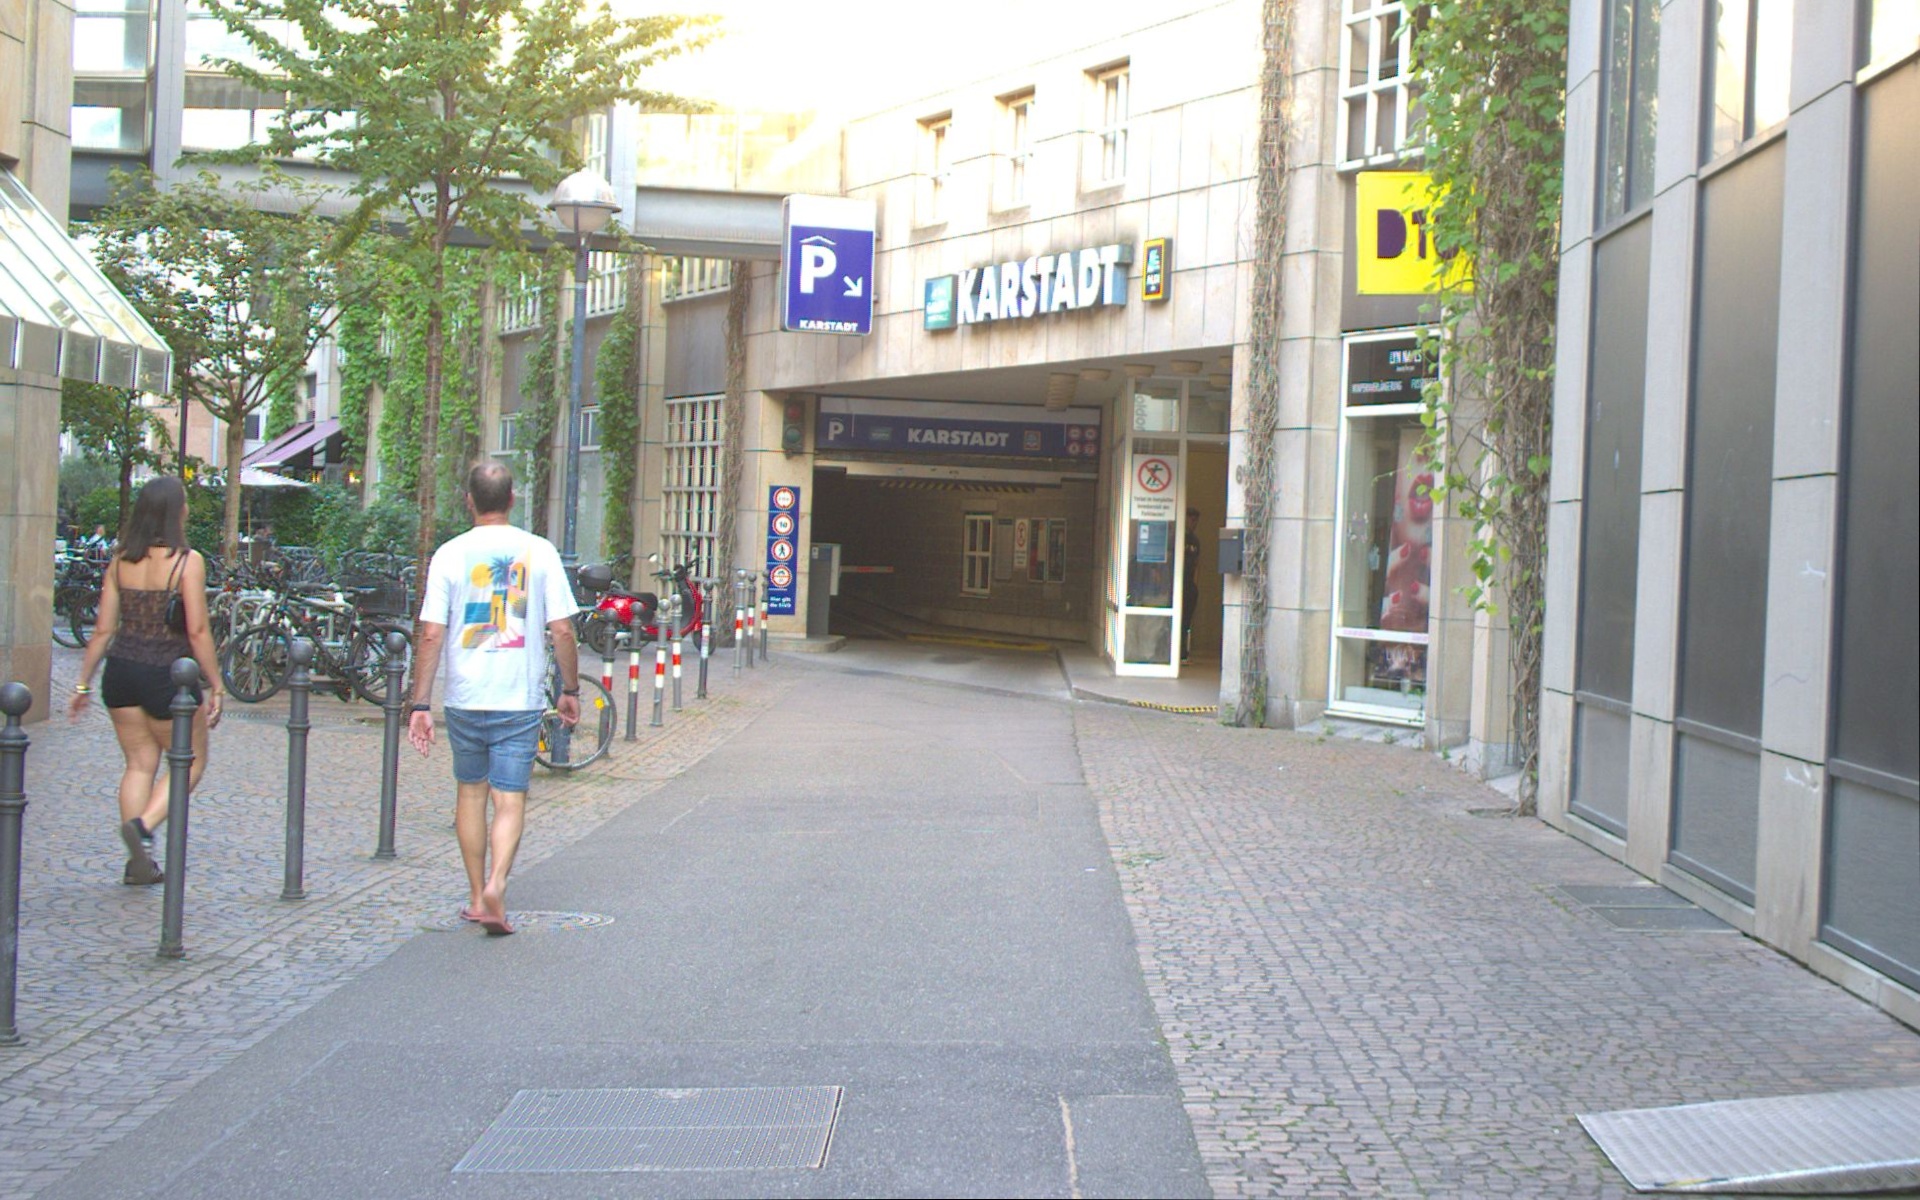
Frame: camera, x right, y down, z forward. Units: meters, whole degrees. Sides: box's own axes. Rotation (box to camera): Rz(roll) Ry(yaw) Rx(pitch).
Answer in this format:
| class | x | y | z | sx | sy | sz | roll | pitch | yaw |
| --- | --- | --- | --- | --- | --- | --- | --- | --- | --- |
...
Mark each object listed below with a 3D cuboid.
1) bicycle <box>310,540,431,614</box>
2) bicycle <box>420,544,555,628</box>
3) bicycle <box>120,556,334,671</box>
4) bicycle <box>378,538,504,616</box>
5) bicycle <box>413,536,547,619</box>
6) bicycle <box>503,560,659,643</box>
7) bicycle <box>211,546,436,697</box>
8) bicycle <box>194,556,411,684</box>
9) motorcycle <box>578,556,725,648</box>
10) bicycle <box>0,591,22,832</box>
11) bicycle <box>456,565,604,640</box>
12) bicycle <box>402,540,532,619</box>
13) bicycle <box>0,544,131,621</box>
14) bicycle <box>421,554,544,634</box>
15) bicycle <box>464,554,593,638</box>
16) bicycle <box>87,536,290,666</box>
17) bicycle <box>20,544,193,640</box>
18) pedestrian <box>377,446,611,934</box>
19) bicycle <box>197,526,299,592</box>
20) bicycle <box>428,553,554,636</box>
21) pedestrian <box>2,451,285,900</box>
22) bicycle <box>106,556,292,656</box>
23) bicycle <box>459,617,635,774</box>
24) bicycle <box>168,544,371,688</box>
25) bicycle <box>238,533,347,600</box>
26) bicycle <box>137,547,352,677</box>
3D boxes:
| class | x | y | z | sx | sy | sz | roll | pitch | yaw |
| --- | --- | --- | --- | --- | --- | --- | --- | --- | --- |
| bicycle | -9.186 | -0.361 | 53.594 | 1.773 | 1.110 | 0.543 | 1 | 1 | -20 |
| bicycle | -6.595 | -0.195 | 48.000 | 1.773 | 1.110 | 0.543 | 1 | 1 | -20 |
| bicycle | -6.934 | 0.125 | 32.525 | 1.893 | 1.048 | 0.534 | 1 | 1 | -22 |
| bicycle | -7.749 | -0.348 | 51.319 | 1.773 | 1.110 | 0.543 | 1 | 1 | -20 |
| bicycle | -6.852 | -0.320 | 49.075 | 1.773 | 1.110 | 0.543 | 2 | 1 | -20 |
| bicycle | -4.694 | 0.023 | 42.609 | 1.847 | 0.978 | 0.464 | 1 | 1 | -20 |
| bicycle | -5.341 | 0.181 | 28.851 | 1.766 | 1.226 | 0.534 | 1 | 1 | -22 |
| bicycle | -5.932 | 0.185 | 31.029 | 1.836 | 1.118 | 0.534 | 1 | 1 | -22 |
| motorcycle | -3.677 | 0.024 | 41.026 | 1.662 | 1.047 | 0.464 | 1 | 1 | -20 |
| bicycle | -4.982 | 0.526 | 15.589 | 0.522 | 1.134 | 1.763 | 2 | 1 | 17 |
| bicycle | -5.435 | 0.030 | 43.490 | 1.773 | 0.901 | 0.464 | 1 | 1 | -20 |
| bicycle | -7.209 | -0.297 | 50.282 | 1.773 | 1.110 | 0.543 | 1 | 1 | -20 |
| bicycle | -12.369 | -0.240 | 47.360 | 1.779 | 1.016 | 0.481 | 1 | 1 | -22 |
| bicycle | -6.504 | -0.080 | 46.826 | 1.539 | 1.045 | 0.575 | 1 | 1 | -20 |
| bicycle | -5.575 | -0.054 | 44.440 | 1.539 | 1.045 | 0.575 | 1 | 1 | -20 |
| bicycle | -7.447 | 0.013 | 33.204 | 1.833 | 1.221 | 0.534 | 1 | 1 | -22 |
| bicycle | -9.623 | -0.089 | 38.773 | 1.824 | 1.039 | 0.534 | 1 | 1 | -22 |
| pedestrian | -1.801 | 0.331 | 13.395 | 0.742 | 1.816 | 0.878 | 2 | 1 | 0 |
| bicycle | -13.382 | -0.766 | 64.610 | 1.773 | 1.186 | 0.586 | 1 | 1 | -20 |
| bicycle | -6.203 | -0.068 | 45.426 | 1.539 | 1.045 | 0.575 | 1 | 1 | -20 |
| pedestrian | -3.403 | 0.296 | 14.391 | 0.785 | 1.789 | 0.972 | 2 | 1 | 10 |
| bicycle | -8.188 | 0.064 | 36.999 | 1.876 | 1.039 | 0.534 | 1 | 1 | -22 |
| bicycle | -2.670 | 0.603 | 22.375 | 0.493 | 0.935 | 1.658 | 4 | 1 | 15 |
| bicycle | -6.050 | 0.138 | 30.138 | 1.653 | 1.226 | 0.534 | 1 | 1 | -22 |
| bicycle | -11.533 | -0.581 | 59.426 | 1.773 | 1.110 | 0.543 | 1 | 1 | -17 |
| bicycle | -6.656 | 0.111 | 31.991 | 1.872 | 1.173 | 0.534 | 1 | 1 | -22 |
